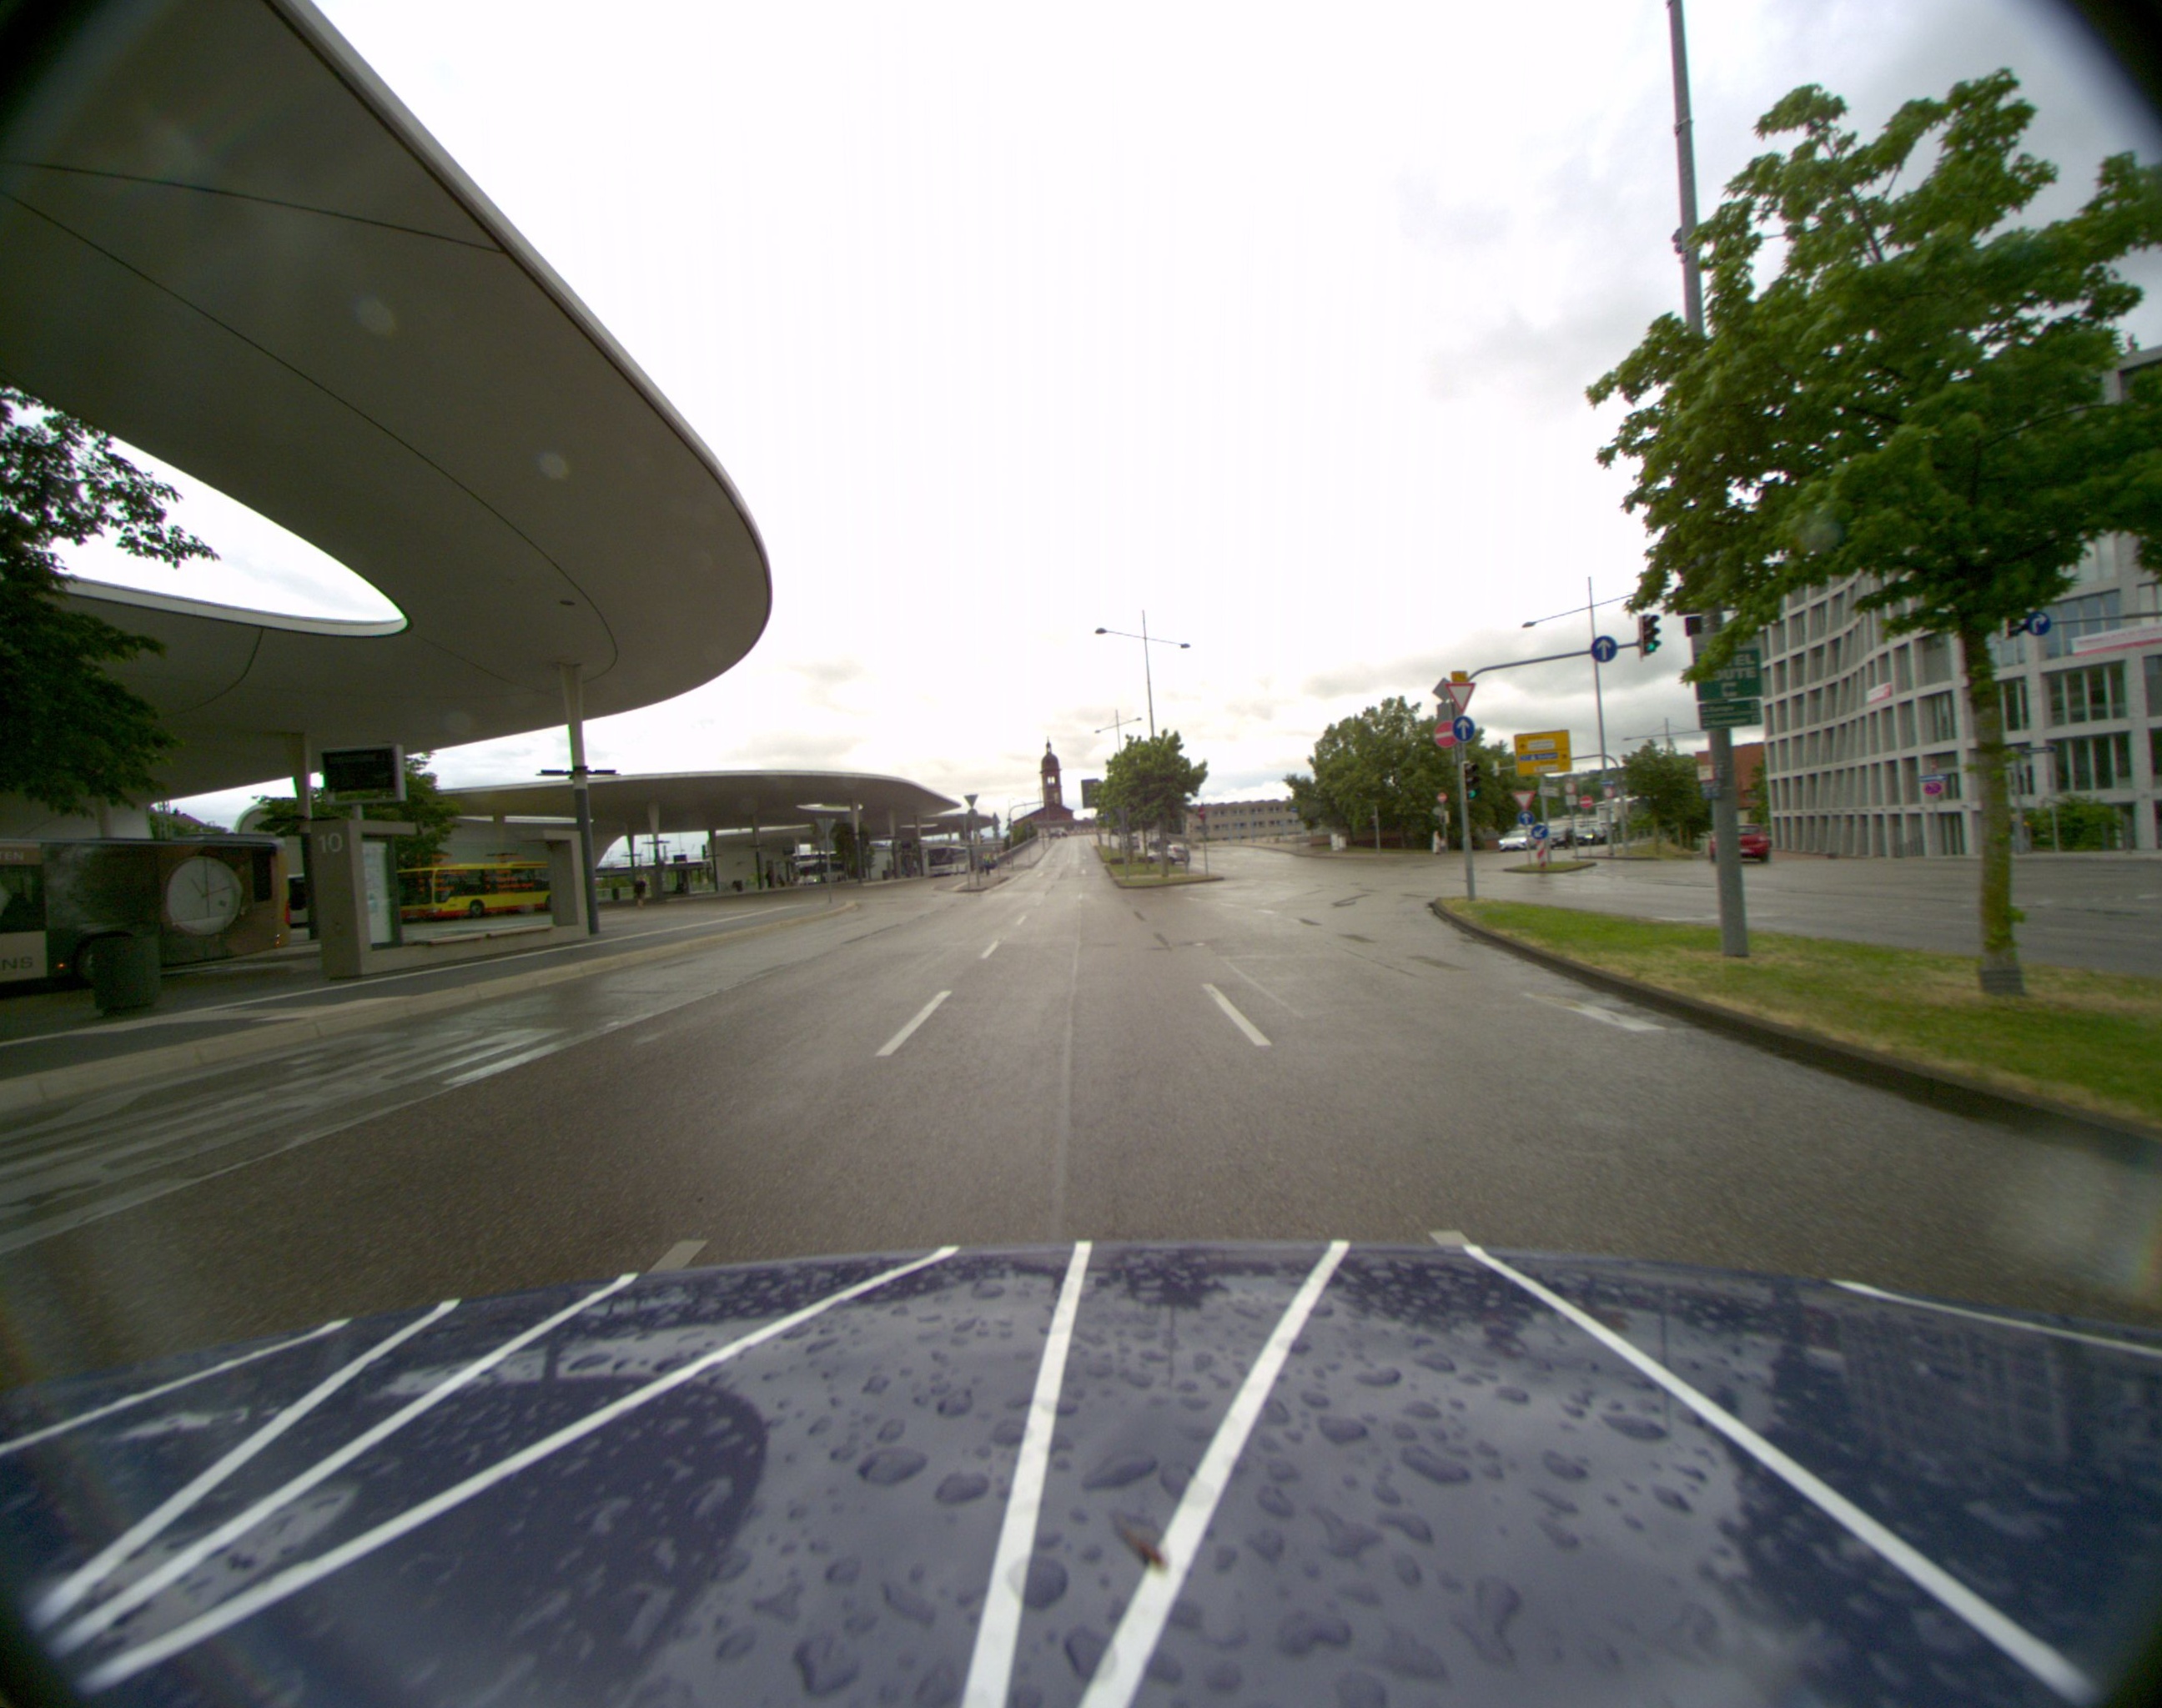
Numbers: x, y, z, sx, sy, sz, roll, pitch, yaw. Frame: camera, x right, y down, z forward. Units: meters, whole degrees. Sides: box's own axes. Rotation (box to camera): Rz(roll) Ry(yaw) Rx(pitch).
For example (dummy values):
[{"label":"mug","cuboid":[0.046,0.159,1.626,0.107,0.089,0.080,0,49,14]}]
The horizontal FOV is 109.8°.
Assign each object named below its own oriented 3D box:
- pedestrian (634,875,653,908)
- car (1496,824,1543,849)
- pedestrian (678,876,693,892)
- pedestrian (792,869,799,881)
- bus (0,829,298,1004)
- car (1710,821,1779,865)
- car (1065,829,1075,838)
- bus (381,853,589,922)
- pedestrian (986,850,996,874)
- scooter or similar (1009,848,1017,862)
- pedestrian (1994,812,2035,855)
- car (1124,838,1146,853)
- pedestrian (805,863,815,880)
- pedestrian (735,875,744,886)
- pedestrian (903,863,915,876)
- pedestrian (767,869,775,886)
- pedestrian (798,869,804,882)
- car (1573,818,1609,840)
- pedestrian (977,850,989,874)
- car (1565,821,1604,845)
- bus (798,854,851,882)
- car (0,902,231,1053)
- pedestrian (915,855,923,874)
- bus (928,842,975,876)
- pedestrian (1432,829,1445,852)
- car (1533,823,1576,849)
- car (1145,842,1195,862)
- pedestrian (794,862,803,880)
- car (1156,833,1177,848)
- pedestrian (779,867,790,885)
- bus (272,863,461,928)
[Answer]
[{"label":"pedestrian","cuboid":[-22.799,1.946,39.584,0.720,1.674,1.019,-2,1,-25]},{"label":"car","cuboid":[31.752,-1.262,54.922,1.882,1.559,4.149,-2,1,45]},{"label":"pedestrian","cuboid":[-36.573,2.784,70.195,0.710,1.318,0.801,-6,4,8]},{"label":"pedestrian","cuboid":[-26.888,1.962,71.572,0.391,1.075,0.352,-2,1,42]},{"label":"bus","cuboid":[-20.133,1.147,12.032,2.728,3.026,12.088,-3,0,1]},{"label":"car","cuboid":[26.333,-0.473,30.103,1.823,1.543,4.040,-2,1,44]},{"label":"car","cuboid":[-2.170,-4.027,150.407,1.852,1.643,4.417,-3,1,-2]},{"label":"bus","cuboid":[-34.527,1.726,45.077,2.796,3.238,12.137,-4,1,-1]},{"label":"pedestrian","cuboid":[-6.542,0.592,55.310,0.524,1.661,0.580,-5,4,0]},{"label":"scooter or similar","cuboid":[-6.273,0.099,70.184,0.465,1.214,1.859,-4,1,0]},{"label":"pedestrian","cuboid":[35.596,-0.764,28.971,0.673,1.574,0.705,-4,2,-2]},{"label":"car","cuboid":[6.351,-0.991,89.650,1.852,1.643,4.417,-4,1,-4]},{"label":"pedestrian","cuboid":[-26.481,1.740,74.322,0.644,1.645,0.638,-4,1,-39]},{"label":"pedestrian","cuboid":[-47.262,3.666,105.177,0.800,1.318,0.711,-7,4,6]},{"label":"pedestrian","cuboid":[-16.862,1.484,74.536,0.954,1.247,0.648,-1,-1,-23]},{"label":"pedestrian","cuboid":[-27.452,2.056,67.258,0.522,1.493,0.381,-4,2,-39]},{"label":"pedestrian","cuboid":[-26.454,2.024,71.786,0.395,1.138,0.364,-2,1,42]},{"label":"car","cuboid":[40.379,-1.978,60.156,1.723,1.559,3.845,-2,1,43]},{"label":"pedestrian","cuboid":[-7.132,0.607,55.384,0.590,1.662,0.580,-6,5,0]},{"label":"car","cuboid":[37.500,-1.564,56.562,1.723,1.559,3.845,-2,1,43]},{"label":"bus","cuboid":[-34.183,1.800,101.798,2.795,3.238,12.139,-4,1,0]},{"label":"car","cuboid":[-12.164,1.405,8.485,1.651,1.444,3.237,-4,0,-1]},{"label":"pedestrian","cuboid":[-15.978,1.059,75.014,0.585,1.875,0.649,-2,-1,10]},{"label":"bus","cuboid":[-14.064,0.472,83.648,2.852,3.342,12.425,-1,0,0]},{"label":"pedestrian","cuboid":[25.138,-0.944,53.365,0.652,1.562,0.631,-1,3,7]},{"label":"car","cuboid":[32.382,-1.242,51.968,1.723,1.559,3.845,-2,1,43]},{"label":"car","cuboid":[6.748,-0.134,58.062,1.640,1.440,3.866,-3,2,-33]},{"label":"pedestrian","cuboid":[-27.180,1.631,73.134,0.570,1.645,0.557,-3,1,6]},{"label":"car","cuboid":[9.710,-1.554,86.772,1.851,1.495,4.919,-3,1,2]},{"label":"pedestrian","cuboid":[-27.029,2.005,69.257,0.590,1.581,0.677,-7,4,-4]},{"label":"bus","cuboid":[-44.518,2.392,47.990,2.521,3.380,9.855,-3,1,-1]}]
